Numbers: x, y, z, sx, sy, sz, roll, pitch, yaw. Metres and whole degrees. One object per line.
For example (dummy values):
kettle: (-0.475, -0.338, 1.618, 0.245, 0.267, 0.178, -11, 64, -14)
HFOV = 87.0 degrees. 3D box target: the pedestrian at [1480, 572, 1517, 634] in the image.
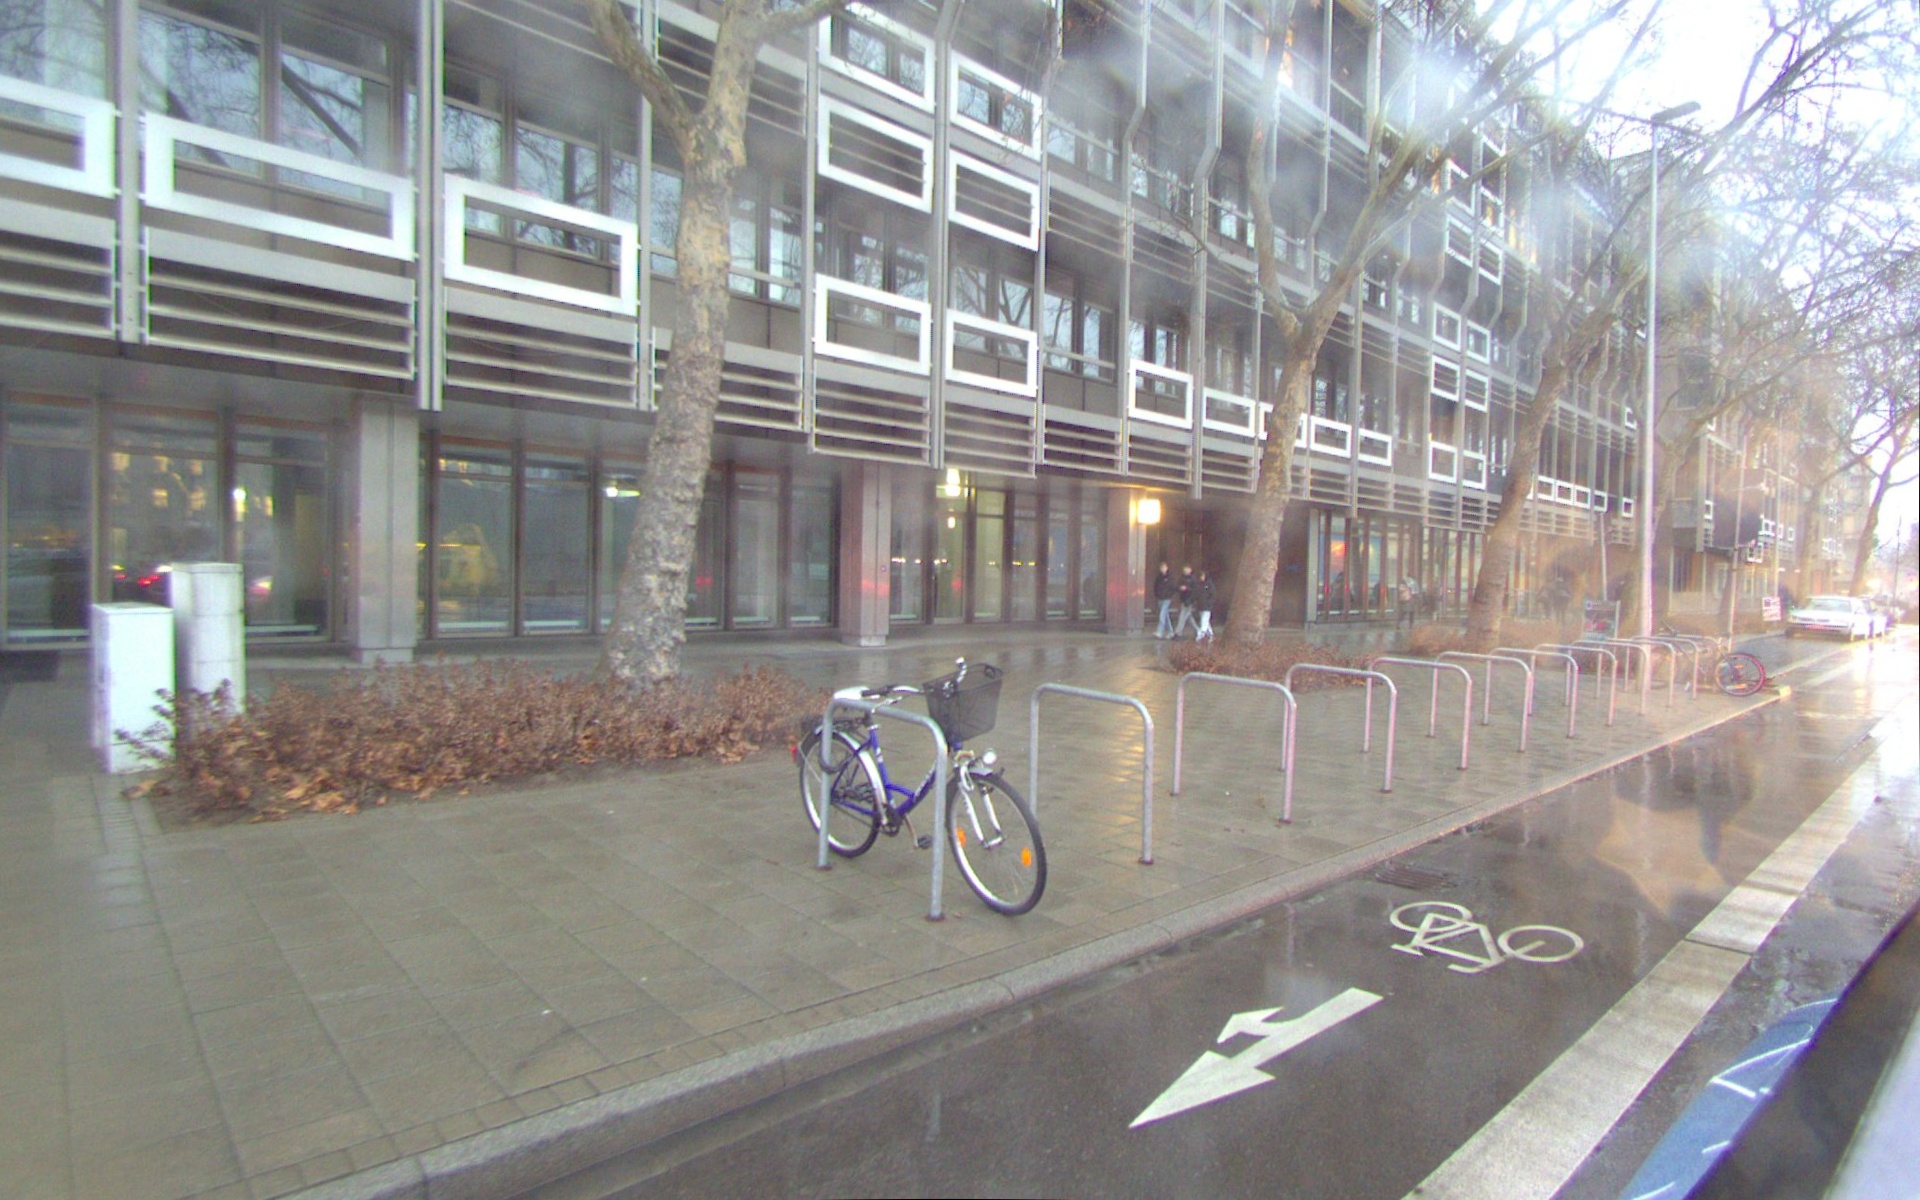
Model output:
pedestrian: (13.944, 0.075, 26.205, 0.604, 1.563, 0.649, 0, 1, -40)

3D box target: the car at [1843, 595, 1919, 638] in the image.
car: (35.316, 0.598, 38.566, 3.930, 1.504, 1.997, -1, 1, -41)

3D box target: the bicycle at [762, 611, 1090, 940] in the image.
bicycle: (-0.238, 0.697, 4.727, 0.428, 1.162, 1.752, 0, 4, -44)

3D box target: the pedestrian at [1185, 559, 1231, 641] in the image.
pedestrian: (5.176, -0.008, 21.143, 0.858, 1.689, 0.501, 0, 2, -41)

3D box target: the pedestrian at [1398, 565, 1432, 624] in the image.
pedestrian: (13.109, -0.166, 29.153, 0.767, 1.677, 0.617, 0, 1, -41)

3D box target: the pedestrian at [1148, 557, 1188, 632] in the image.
pedestrian: (4.518, -0.122, 21.945, 0.733, 1.583, 0.484, 0, 1, -42)

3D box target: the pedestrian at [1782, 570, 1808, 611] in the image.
pedestrian: (42.098, -0.495, 51.017, 1.007, 2.039, 0.790, 0, 1, -41)

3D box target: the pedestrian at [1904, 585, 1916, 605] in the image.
pedestrian: (94.142, -0.500, 100.270, 0.758, 2.039, 0.837, -1, 0, -42)

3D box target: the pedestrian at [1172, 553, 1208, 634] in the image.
pedestrian: (4.893, -0.141, 21.559, 0.701, 1.689, 0.379, 0, 1, -41)

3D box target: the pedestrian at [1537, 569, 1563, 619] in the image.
pedestrian: (20.088, -0.212, 34.460, 0.634, 1.675, 0.836, 1, 1, 23)

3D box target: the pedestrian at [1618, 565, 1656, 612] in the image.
pedestrian: (22.754, -0.402, 34.000, 0.824, 1.543, 0.865, 0, 2, -43)

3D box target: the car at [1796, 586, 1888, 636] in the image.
car: (29.317, 0.327, 33.624, 3.859, 1.449, 1.609, 0, 4, -39)

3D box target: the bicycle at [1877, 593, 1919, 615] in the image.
bicycle: (46.049, 0.174, 49.687, 1.518, 1.049, 0.462, 0, 1, 42)

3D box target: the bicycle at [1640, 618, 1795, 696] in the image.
bicycle: (11.534, 0.840, 15.448, 0.607, 0.986, 1.789, 0, 3, -44)

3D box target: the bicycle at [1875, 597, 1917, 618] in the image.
bicycle: (46.920, 0.355, 50.744, 1.518, 1.049, 0.462, 0, 1, 42)

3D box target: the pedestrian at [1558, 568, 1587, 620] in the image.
pedestrian: (20.844, -0.218, 34.456, 0.652, 1.739, 0.837, 1, 1, 21)

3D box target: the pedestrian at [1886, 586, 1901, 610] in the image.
pedestrian: (79.092, -0.149, 85.719, 0.758, 2.039, 0.837, -1, 0, -42)
